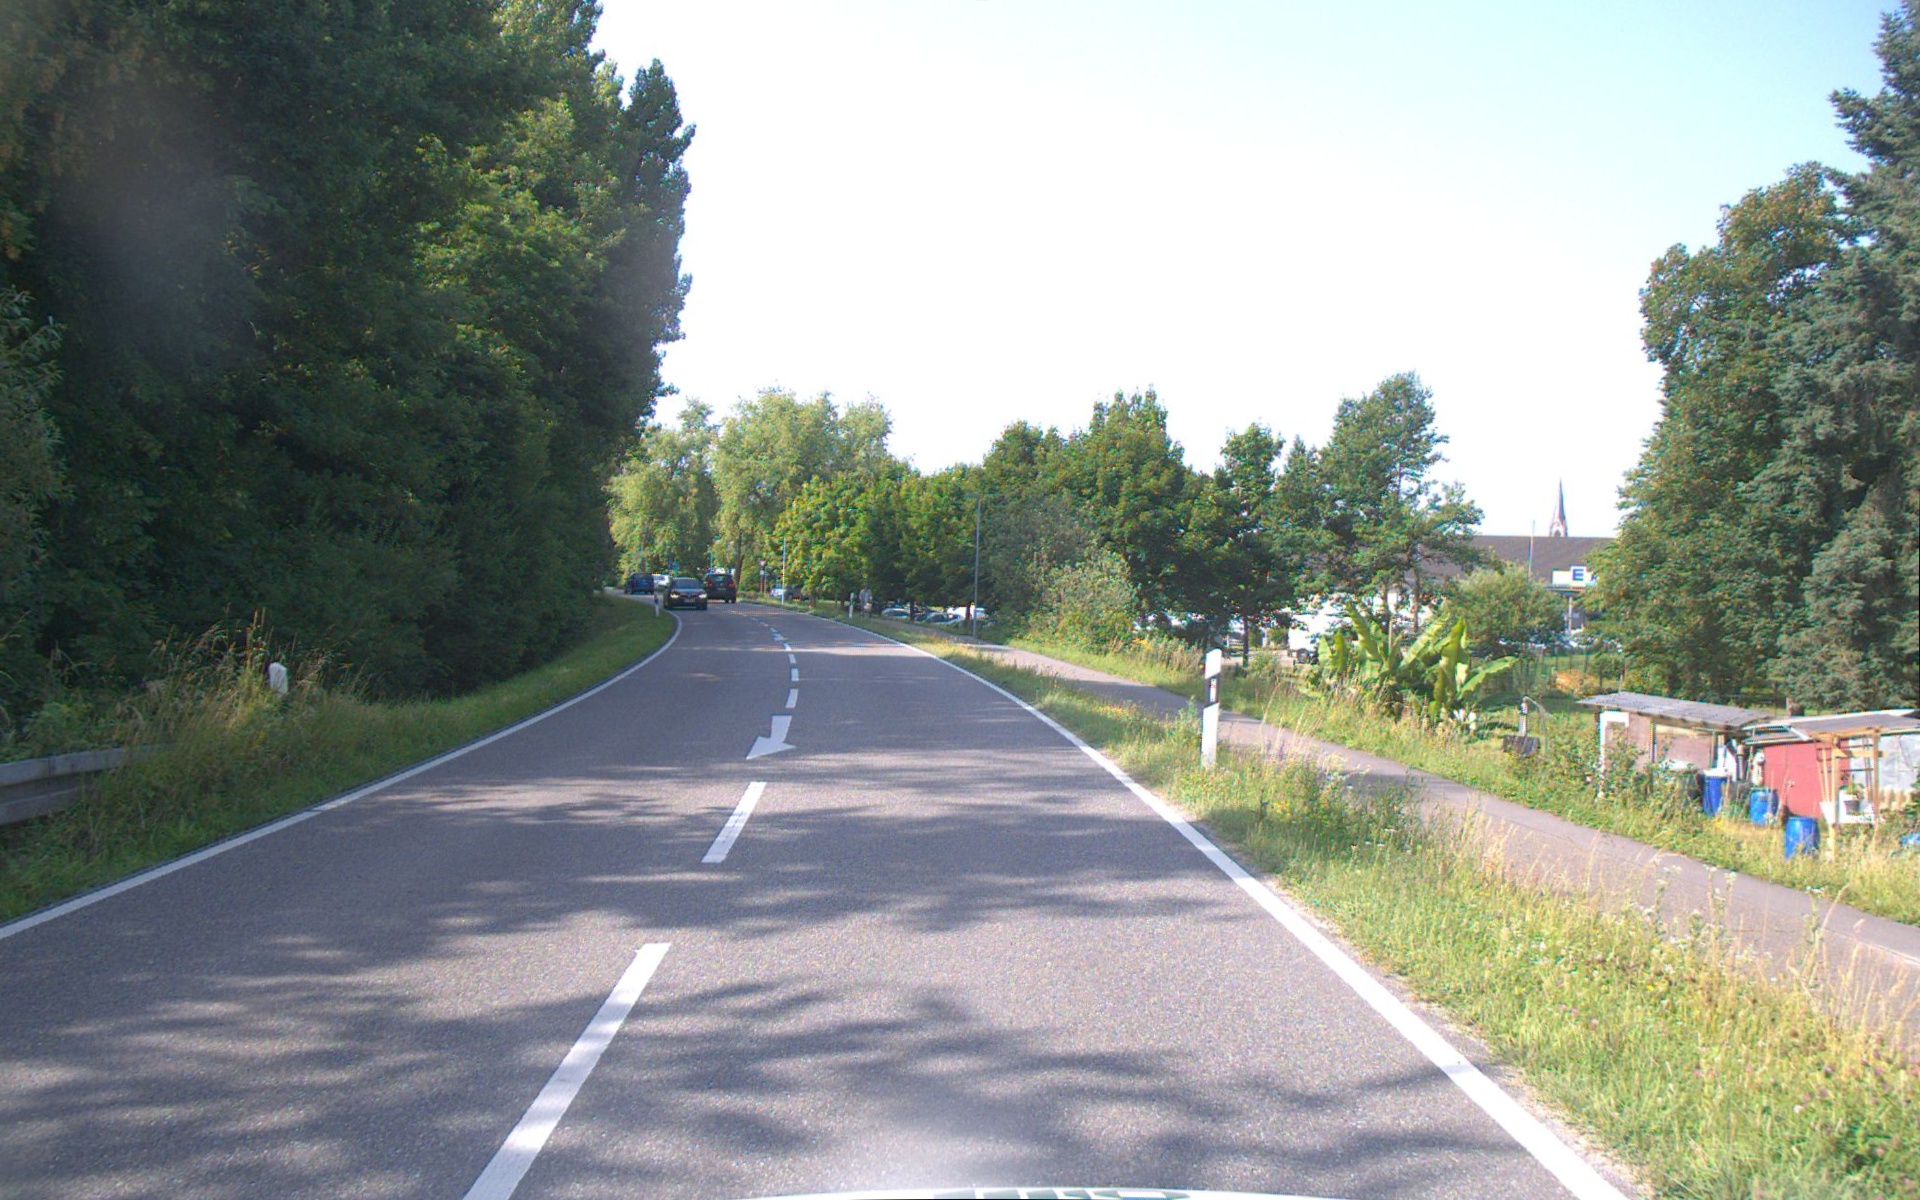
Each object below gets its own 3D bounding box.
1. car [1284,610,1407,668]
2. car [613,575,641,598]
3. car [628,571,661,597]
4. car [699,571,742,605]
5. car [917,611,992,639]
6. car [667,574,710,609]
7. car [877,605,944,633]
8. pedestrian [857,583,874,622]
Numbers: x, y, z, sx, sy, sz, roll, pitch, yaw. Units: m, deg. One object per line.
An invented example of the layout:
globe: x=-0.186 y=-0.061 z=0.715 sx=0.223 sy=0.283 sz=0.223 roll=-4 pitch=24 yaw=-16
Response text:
car: x=19.761 y=1.968 z=84.909 sx=5.670 sy=2.714 sz=2.398 roll=1 pitch=0 yaw=36
car: x=-28.388 y=-1.182 z=141.178 sx=1.966 sy=1.801 sz=3.994 roll=2 pitch=1 yaw=-7
car: x=-23.612 y=-1.226 z=123.792 sx=1.973 sy=1.801 sz=3.981 roll=2 pitch=1 yaw=-18
car: x=-13.679 y=-0.708 z=94.337 sx=1.894 sy=1.801 sz=3.984 roll=2 pitch=1 yaw=-16
car: x=-0.342 y=1.473 z=98.029 sx=4.182 sy=1.497 sz=1.840 roll=1 pitch=0 yaw=-8
car: x=-12.902 y=-0.411 z=78.469 sx=1.721 sy=1.499 sz=3.986 roll=2 pitch=1 yaw=-14
car: x=-3.254 y=1.272 z=108.918 sx=4.159 sy=1.709 sz=1.886 roll=1 pitch=0 yaw=-12
pedestrian: x=-4.490 y=0.123 z=78.509 sx=0.739 sy=1.806 sz=0.972 roll=1 pitch=0 yaw=-1
